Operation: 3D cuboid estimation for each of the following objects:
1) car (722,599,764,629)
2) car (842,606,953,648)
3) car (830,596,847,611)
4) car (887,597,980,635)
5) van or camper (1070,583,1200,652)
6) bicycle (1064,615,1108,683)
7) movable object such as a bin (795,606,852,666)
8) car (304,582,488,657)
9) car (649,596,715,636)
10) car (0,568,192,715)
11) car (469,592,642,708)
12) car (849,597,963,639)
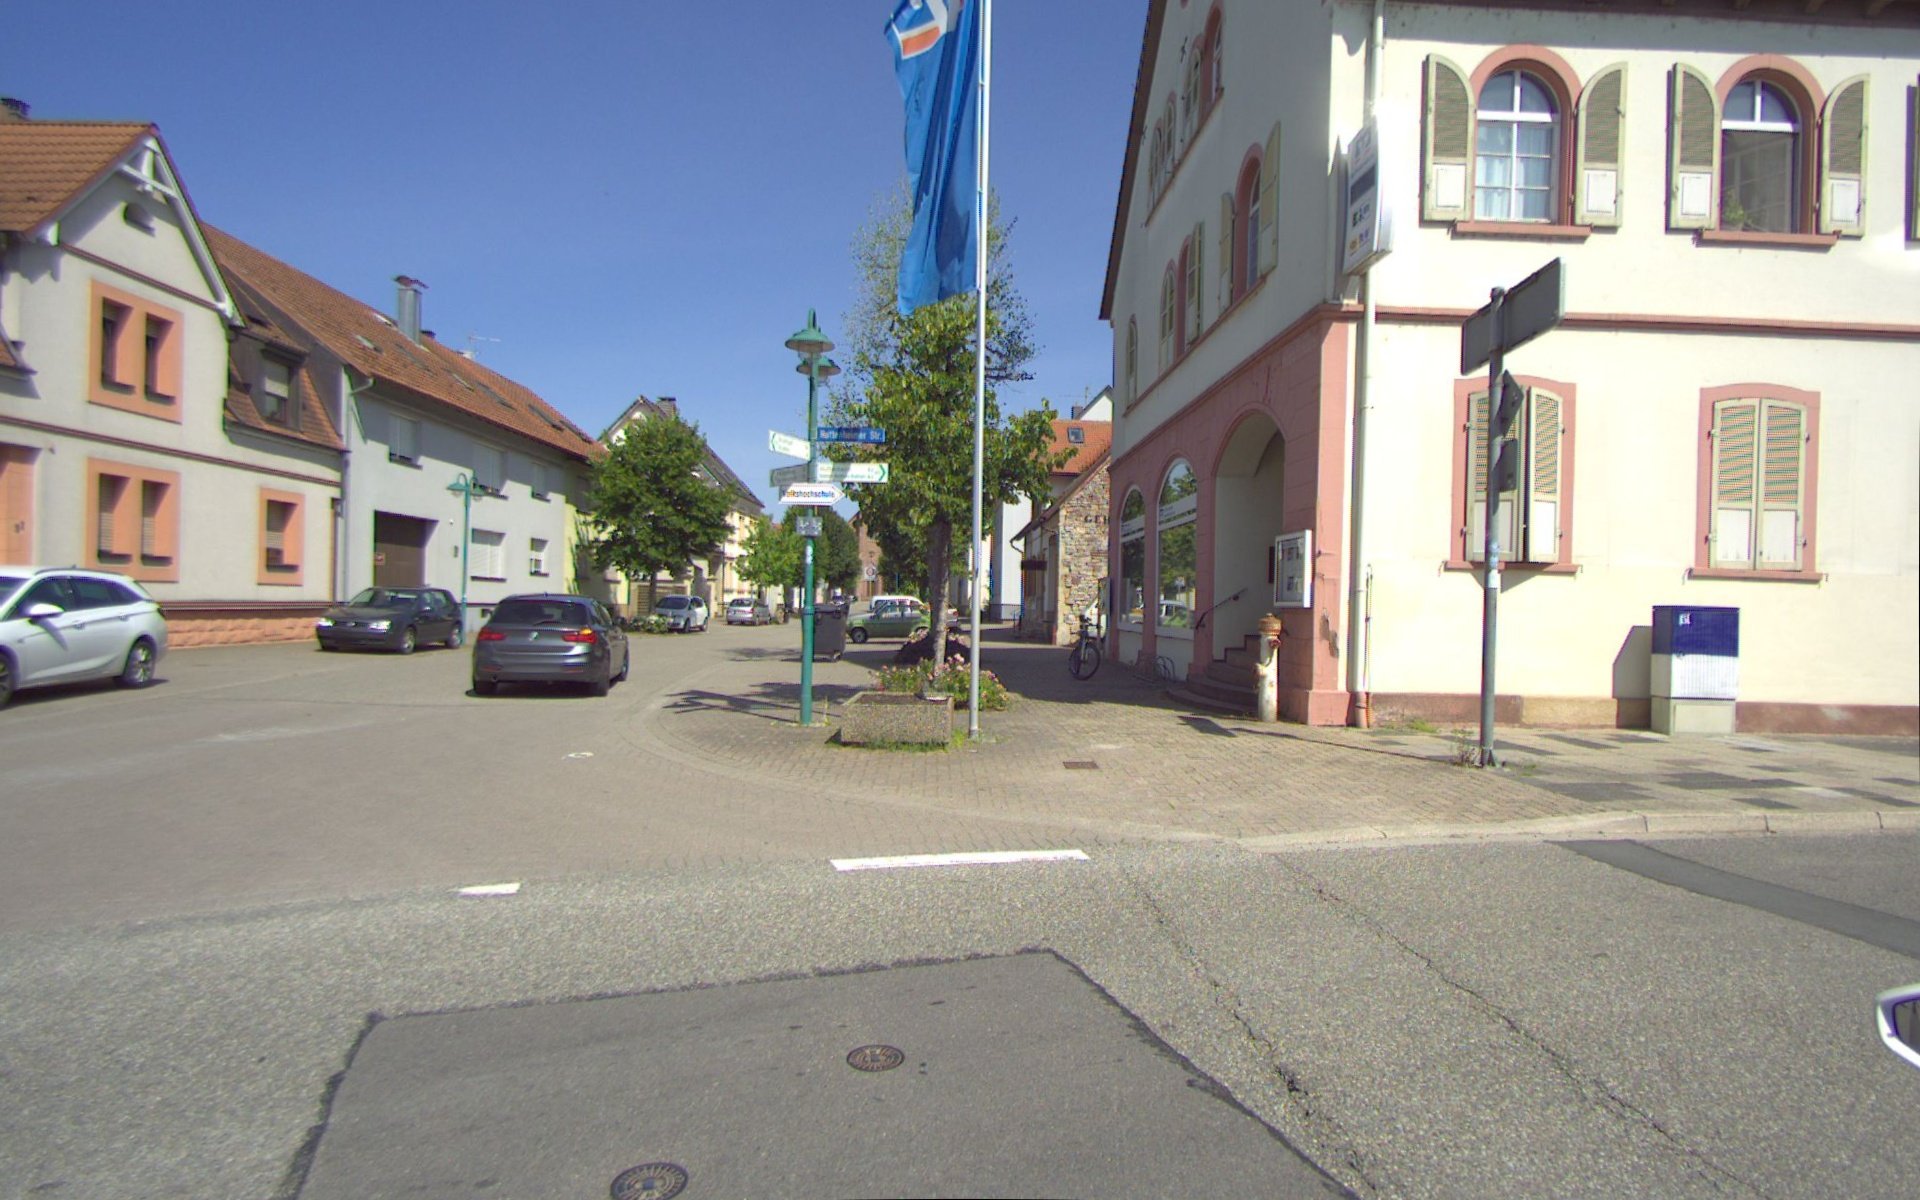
[{"bbox_3d":[-11.783,0.738,54.844,1.964,1.483,3.994,2,0,-9],"label":"car"},{"bbox_3d":[-2.231,0.969,36.393,3.860,1.362,1.999,1,0,-2],"label":"car"},{"bbox_3d":[-15.125,0.464,125.411,1.962,1.840,3.996,1,0,-6],"label":"car"},{"bbox_3d":[-1.213,0.711,45.630,4.083,1.589,1.999,1,0,-3],"label":"car"},{"bbox_3d":[5.480,0.534,31.915,3.919,2.040,2.001,1,0,6],"label":"van or camper"},{"bbox_3d":[2.297,0.874,18.477,0.583,1.151,1.748,1,0,1],"label":"bicycle"},{"bbox_3d":[-3.163,0.831,23.384,1.168,1.356,0.789,1,0,1],"label":"movable object such as a bin"},{"bbox_3d":[-12.752,0.404,23.164,1.955,1.460,5.203,2,0,-9],"label":"car"},{"bbox_3d":[-12.049,0.672,43.747,1.962,1.595,3.998,1,0,-4],"label":"car"},{"bbox_3d":[-10.792,0.393,11.211,1.823,1.460,4.501,1,0,-14],"label":"car"},{"bbox_3d":[-5.994,0.662,15.375,1.712,1.394,4.257,4,0,-13],"label":"car"},{"bbox_3d":[-2.291,0.763,42.864,4.726,1.645,1.999,1,0,-3],"label":"car"}]
